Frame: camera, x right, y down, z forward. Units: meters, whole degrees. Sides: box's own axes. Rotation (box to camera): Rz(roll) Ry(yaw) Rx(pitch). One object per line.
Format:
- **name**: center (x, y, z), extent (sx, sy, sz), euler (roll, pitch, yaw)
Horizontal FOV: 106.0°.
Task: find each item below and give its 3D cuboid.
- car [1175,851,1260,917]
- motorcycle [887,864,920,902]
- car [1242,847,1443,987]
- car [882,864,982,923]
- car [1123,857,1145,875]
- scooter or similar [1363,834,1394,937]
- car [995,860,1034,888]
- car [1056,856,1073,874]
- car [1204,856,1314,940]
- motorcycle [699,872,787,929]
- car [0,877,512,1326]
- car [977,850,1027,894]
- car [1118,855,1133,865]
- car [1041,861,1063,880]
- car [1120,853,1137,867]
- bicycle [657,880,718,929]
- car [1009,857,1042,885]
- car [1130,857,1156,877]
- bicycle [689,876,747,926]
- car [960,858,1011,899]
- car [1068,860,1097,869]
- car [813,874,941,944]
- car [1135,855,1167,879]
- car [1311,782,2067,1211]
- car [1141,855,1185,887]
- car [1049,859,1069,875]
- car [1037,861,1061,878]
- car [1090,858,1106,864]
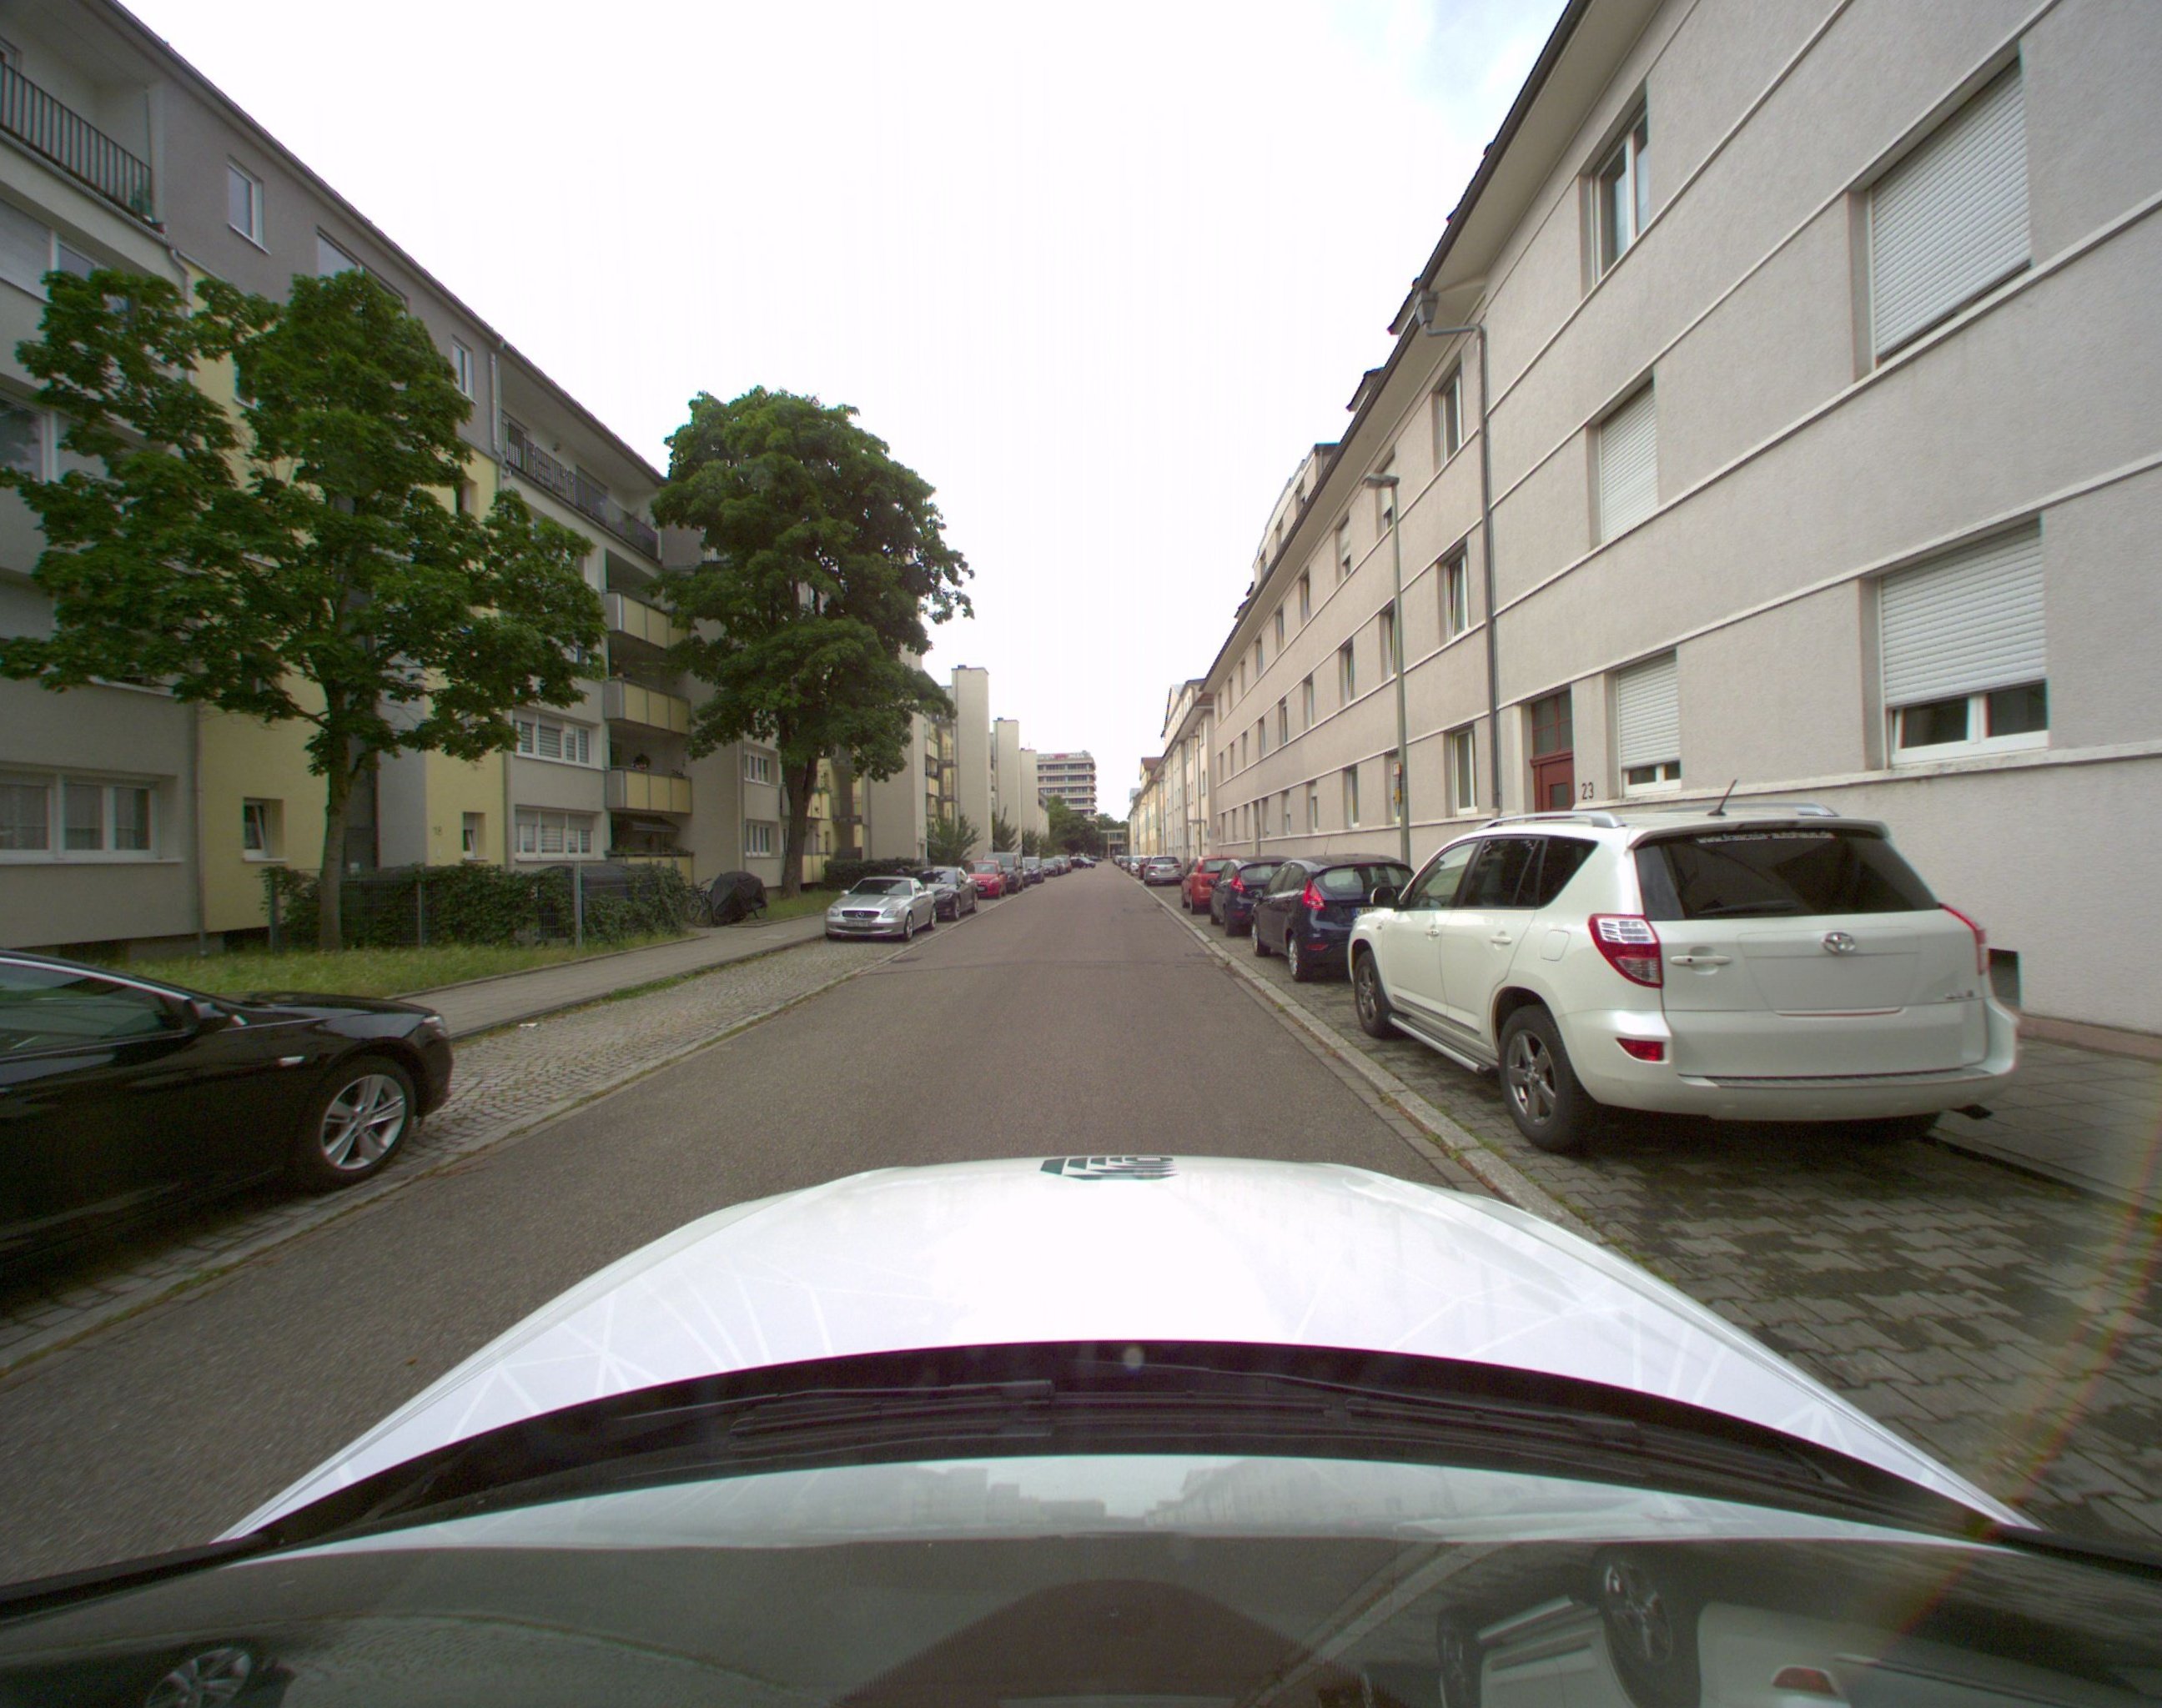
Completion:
- **car**: center (3.523, 0.726, 21.690), extent (1.690, 1.525, 3.827), euler (-2, 0, 2)
- **motorcycle**: center (-6.621, 1.056, 30.451), extent (0.675, 1.356, 2.230), euler (1, 0, 2)
- **car**: center (3.231, 0.689, 10.809), extent (1.561, 1.478, 3.873), euler (-2, 0, 3)
- **car**: center (-4.066, 1.042, 23.010), extent (1.835, 1.421, 4.631), euler (1, 0, 2)
- **car**: center (4.835, 1.080, 74.871), extent (1.813, 1.577, 3.754), euler (-1, 0, 2)
- **scooter or similar**: center (5.990, 0.618, 16.374), extent (0.342, 2.013, 0.682), euler (1, 0, 40)
- **car**: center (-3.656, 1.069, 45.702), extent (1.824, 1.459, 4.259), euler (-1, 0, 0)
- **car**: center (-1.798, 1.177, 90.721), extent (1.665, 1.938, 3.743), euler (-1, 0, 2)
- **car**: center (3.430, 0.774, 16.274), extent (1.561, 1.473, 3.699), euler (0, 0, 3)
- **motorcycle**: center (-8.092, 1.073, 19.705), extent (0.678, 1.223, 3.069), euler (0, 0, 3)
- **car**: center (-4.693, 0.898, 2.806), extent (1.860, 1.464, 4.837), euler (1, 0, 3)
- **car**: center (-3.636, 0.800, 38.385), extent (1.873, 1.904, 5.029), euler (1, 0, 0)
- **car**: center (6.529, 0.895, 118.943), extent (1.986, 1.398, 4.001), euler (1, 0, 1)
- **car**: center (-2.540, 1.416, 72.262), extent (1.665, 1.564, 3.665), euler (-1, 0, 2)
- **car**: center (5.370, 0.677, 91.902), extent (1.813, 1.577, 3.885), euler (-1, 0, 2)
- **bicycle**: center (-9.661, 1.218, 20.048), extent (0.549, 1.101, 1.776), euler (-1, 0, 3)
- **car**: center (-3.430, 1.026, 50.896), extent (1.764, 1.643, 4.354), euler (-1, 0, 0)
- **car**: center (4.766, 0.972, 63.108), extent (1.813, 1.504, 3.754), euler (-1, 0, 2)
- **bicycle**: center (-8.849, 1.123, 19.913), extent (0.549, 1.101, 1.776), euler (-1, 0, 3)
- **car**: center (-3.857, 0.953, 33.256), extent (1.558, 1.569, 3.642), euler (1, 0, 1)
- **car**: center (0.223, 1.412, 111.576), extent (3.698, 1.214, 1.551), euler (-1, 0, 19)
- **car**: center (-4.351, 1.125, 18.036), extent (1.690, 1.258, 4.017), euler (0, 0, 2)
- **car**: center (4.381, 0.791, 51.429), extent (1.664, 1.420, 4.000), euler (-3, 0, 1)
- **car**: center (3.106, 0.577, 5.482), extent (1.837, 1.674, 4.288), euler (-2, 0, 0)
- **car**: center (4.026, 0.792, 40.728), extent (1.749, 1.467, 4.600), euler (-1, 0, 0)
- **car**: center (-2.170, 1.234, 80.464), extent (1.665, 1.526, 4.254), euler (-1, 0, 2)
- **car**: center (-2.649, 1.274, 67.882), extent (1.665, 1.352, 3.818), euler (-1, 0, 2)
- **car**: center (4.215, 1.825, 204.114), extent (3.972, 1.486, 2.001), euler (1, 0, 1)
